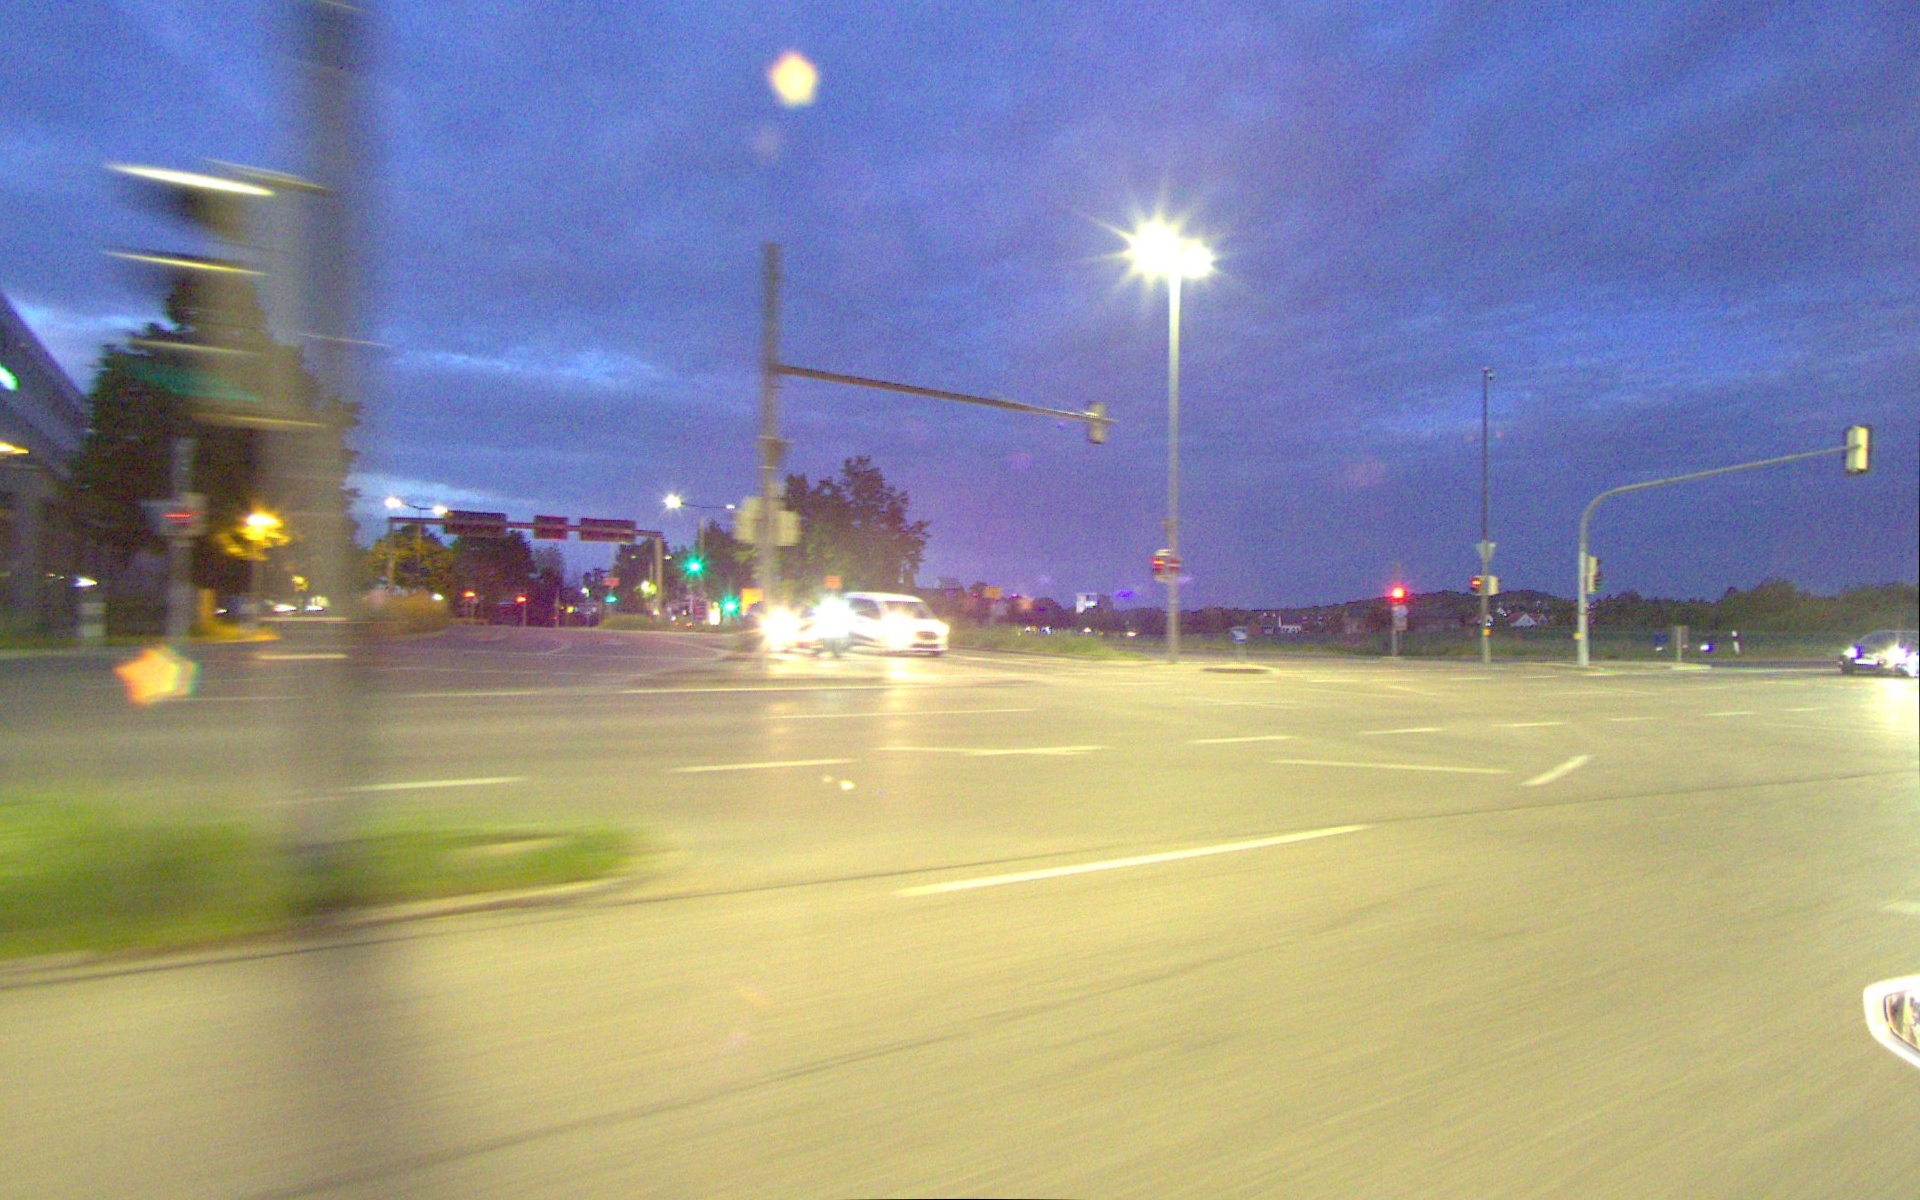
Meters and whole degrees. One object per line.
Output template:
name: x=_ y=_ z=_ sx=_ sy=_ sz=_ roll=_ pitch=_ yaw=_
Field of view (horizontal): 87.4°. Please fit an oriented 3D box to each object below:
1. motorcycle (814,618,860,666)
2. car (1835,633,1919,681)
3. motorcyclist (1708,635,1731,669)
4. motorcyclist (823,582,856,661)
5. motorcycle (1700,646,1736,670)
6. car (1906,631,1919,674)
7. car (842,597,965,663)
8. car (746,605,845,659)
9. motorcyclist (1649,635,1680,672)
motorcycle: x=-3.263 y=1.083 z=26.474 sx=0.664 sy=1.179 sz=1.797 roll=2 pitch=-1 yaw=-24
car: x=31.085 y=1.861 z=33.212 sx=4.235 sy=1.465 sz=1.774 roll=1 pitch=0 yaw=-27
motorcyclist: x=40.543 y=2.788 z=53.618 sx=0.780 sy=1.781 sz=0.679 roll=4 pitch=-6 yaw=-28
motorcyclist: x=-3.205 y=0.563 z=26.614 sx=0.628 sy=2.040 sz=0.763 roll=2 pitch=0 yaw=-25
motorcycle: x=40.395 y=3.080 z=53.543 sx=1.799 sy=1.196 sz=0.844 roll=4 pitch=-6 yaw=-29
car: x=36.176 y=1.916 z=36.283 sx=3.951 sy=1.545 sz=1.824 roll=2 pitch=-1 yaw=-29
car: x=-1.810 y=0.864 z=30.517 sx=1.827 sy=1.838 sz=4.738 roll=2 pitch=-1 yaw=-29
car: x=-4.955 y=0.925 z=29.887 sx=1.753 sy=1.466 sz=3.752 roll=2 pitch=-1 yaw=-29
motorcyclist: x=36.316 y=2.785 z=51.806 sx=0.858 sy=1.831 sz=0.913 roll=4 pitch=-7 yaw=-22
